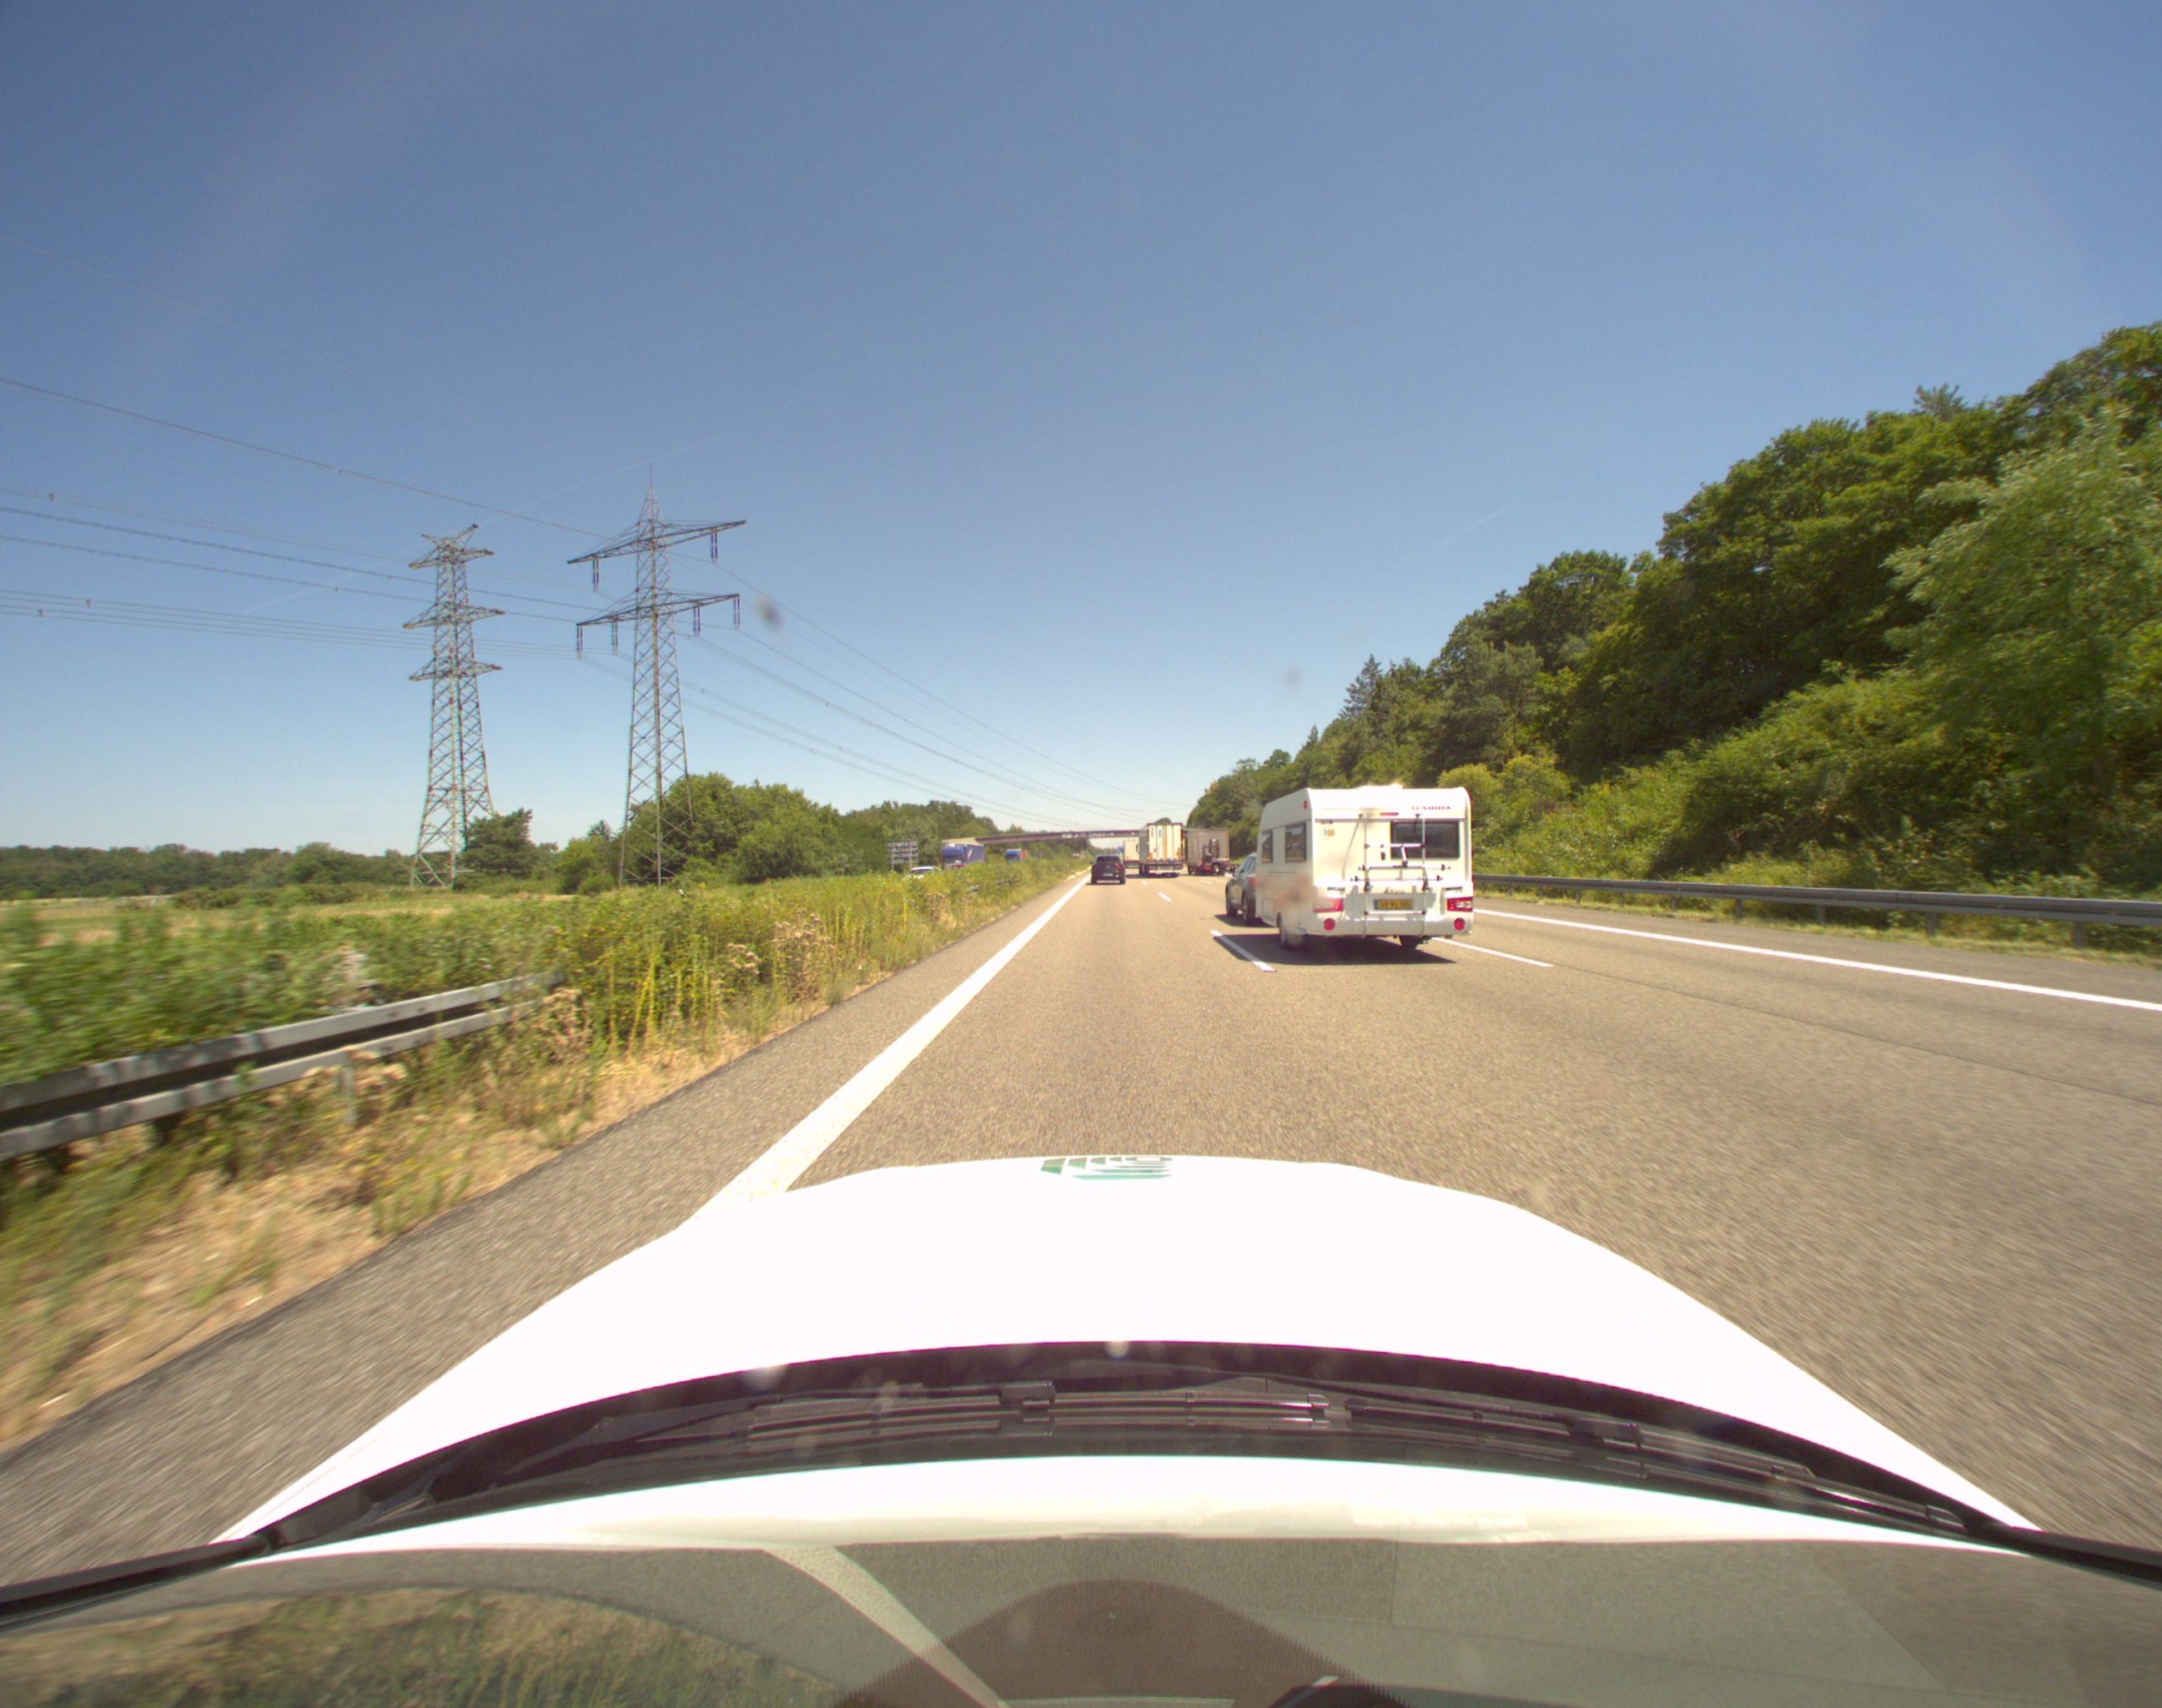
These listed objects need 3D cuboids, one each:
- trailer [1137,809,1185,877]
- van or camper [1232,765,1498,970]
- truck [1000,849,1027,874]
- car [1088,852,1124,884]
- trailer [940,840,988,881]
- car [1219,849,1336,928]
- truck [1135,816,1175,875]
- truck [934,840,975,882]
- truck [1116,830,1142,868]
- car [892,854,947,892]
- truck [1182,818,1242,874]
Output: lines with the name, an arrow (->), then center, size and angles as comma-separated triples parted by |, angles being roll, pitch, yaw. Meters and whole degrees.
trailer -> 6.151, -0.722, 64.471 | 3.075, 4.885, 12.263 | 0, -1, 2
van or camper -> 4.382, 0.180, 14.048 | 2.430, 2.675, 6.351 | -2, 0, 1
truck -> -12.461, 1.394, 150.486 | 3.327, 4.407, 7.983 | -3, 0, 5
car -> 1.434, 0.778, 47.719 | 1.987, 1.772, 4.000 | -2, 0, 1
trailer -> -14.071, 0.784, 99.288 | 3.076, 4.407, 14.237 | -4, 0, 2
car -> 4.550, 0.738, 19.589 | 1.871, 1.612, 4.705 | 1, 0, 3
truck -> 6.374, -0.662, 71.050 | 3.075, 4.885, 6.600 | 0, -1, 2
truck -> -14.299, 0.779, 92.618 | 3.076, 4.407, 6.804 | -4, 0, 2
truck -> 6.896, -0.701, 117.931 | 3.498, 5.166, 10.263 | -1, 0, 2
car -> -9.090, 1.044, 46.241 | 1.986, 1.944, 4.727 | -3, 0, 2
truck -> 10.784, -0.553, 68.284 | 3.557, 4.245, 11.656 | 0, -1, 2
